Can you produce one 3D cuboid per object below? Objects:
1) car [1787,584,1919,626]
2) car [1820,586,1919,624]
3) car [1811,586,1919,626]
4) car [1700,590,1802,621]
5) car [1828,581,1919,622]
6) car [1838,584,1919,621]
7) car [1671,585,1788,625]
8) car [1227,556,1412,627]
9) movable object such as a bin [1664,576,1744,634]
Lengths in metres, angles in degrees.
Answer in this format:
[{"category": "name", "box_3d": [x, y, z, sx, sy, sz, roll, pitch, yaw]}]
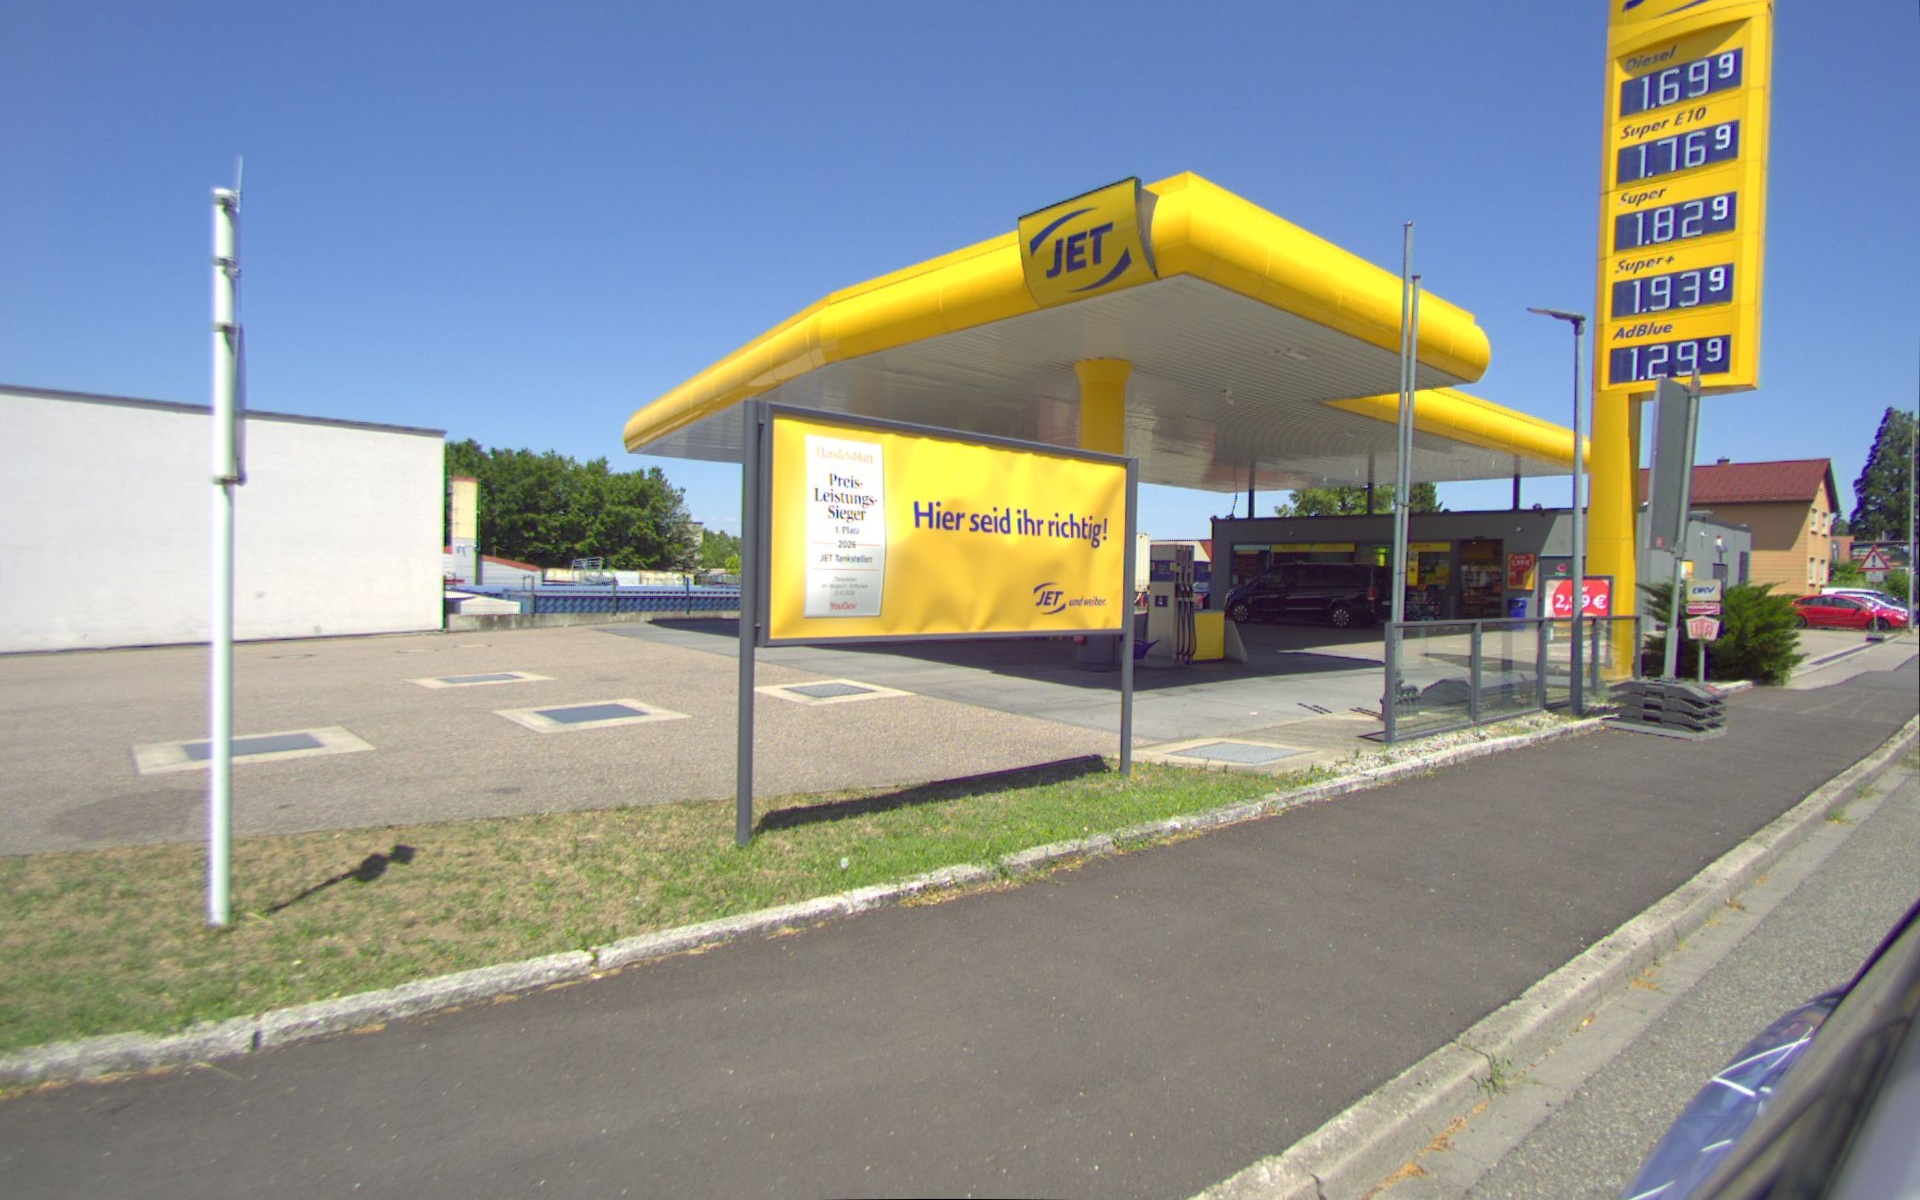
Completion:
[{"category": "car", "box_3d": [37.245, 0.195, 42.083, 1.926, 1.554, 4.229, 0, 2, -44]}, {"category": "car", "box_3d": [42.305, 0.210, 46.807, 1.615, 1.586, 3.686, 0, 2, -45]}, {"category": "car", "box_3d": [39.150, 0.233, 43.599, 3.685, 1.586, 1.681, 3, 2, 44]}, {"category": "car", "box_3d": [39.253, 0.288, 50.275, 3.890, 1.393, 1.617, -3, -2, 42]}, {"category": "car", "box_3d": [46.757, 0.055, 51.326, 4.131, 1.962, 1.781, 1, 1, 42]}, {"category": "car", "box_3d": [45.603, 0.126, 49.543, 3.876, 1.701, 1.735, 3, 2, 44]}, {"category": "car", "box_3d": [35.518, 0.254, 46.768, 1.753, 1.689, 4.042, 0, -2, -43]}, {"category": "car", "box_3d": [10.951, -0.290, 31.161, 1.965, 2.000, 5.058, 0, 1, -41]}, {"category": "movable object such as a bin", "box_3d": [19.900, 0.117, 27.081, 1.443, 1.455, 1.436, 0, 2, -43]}]
